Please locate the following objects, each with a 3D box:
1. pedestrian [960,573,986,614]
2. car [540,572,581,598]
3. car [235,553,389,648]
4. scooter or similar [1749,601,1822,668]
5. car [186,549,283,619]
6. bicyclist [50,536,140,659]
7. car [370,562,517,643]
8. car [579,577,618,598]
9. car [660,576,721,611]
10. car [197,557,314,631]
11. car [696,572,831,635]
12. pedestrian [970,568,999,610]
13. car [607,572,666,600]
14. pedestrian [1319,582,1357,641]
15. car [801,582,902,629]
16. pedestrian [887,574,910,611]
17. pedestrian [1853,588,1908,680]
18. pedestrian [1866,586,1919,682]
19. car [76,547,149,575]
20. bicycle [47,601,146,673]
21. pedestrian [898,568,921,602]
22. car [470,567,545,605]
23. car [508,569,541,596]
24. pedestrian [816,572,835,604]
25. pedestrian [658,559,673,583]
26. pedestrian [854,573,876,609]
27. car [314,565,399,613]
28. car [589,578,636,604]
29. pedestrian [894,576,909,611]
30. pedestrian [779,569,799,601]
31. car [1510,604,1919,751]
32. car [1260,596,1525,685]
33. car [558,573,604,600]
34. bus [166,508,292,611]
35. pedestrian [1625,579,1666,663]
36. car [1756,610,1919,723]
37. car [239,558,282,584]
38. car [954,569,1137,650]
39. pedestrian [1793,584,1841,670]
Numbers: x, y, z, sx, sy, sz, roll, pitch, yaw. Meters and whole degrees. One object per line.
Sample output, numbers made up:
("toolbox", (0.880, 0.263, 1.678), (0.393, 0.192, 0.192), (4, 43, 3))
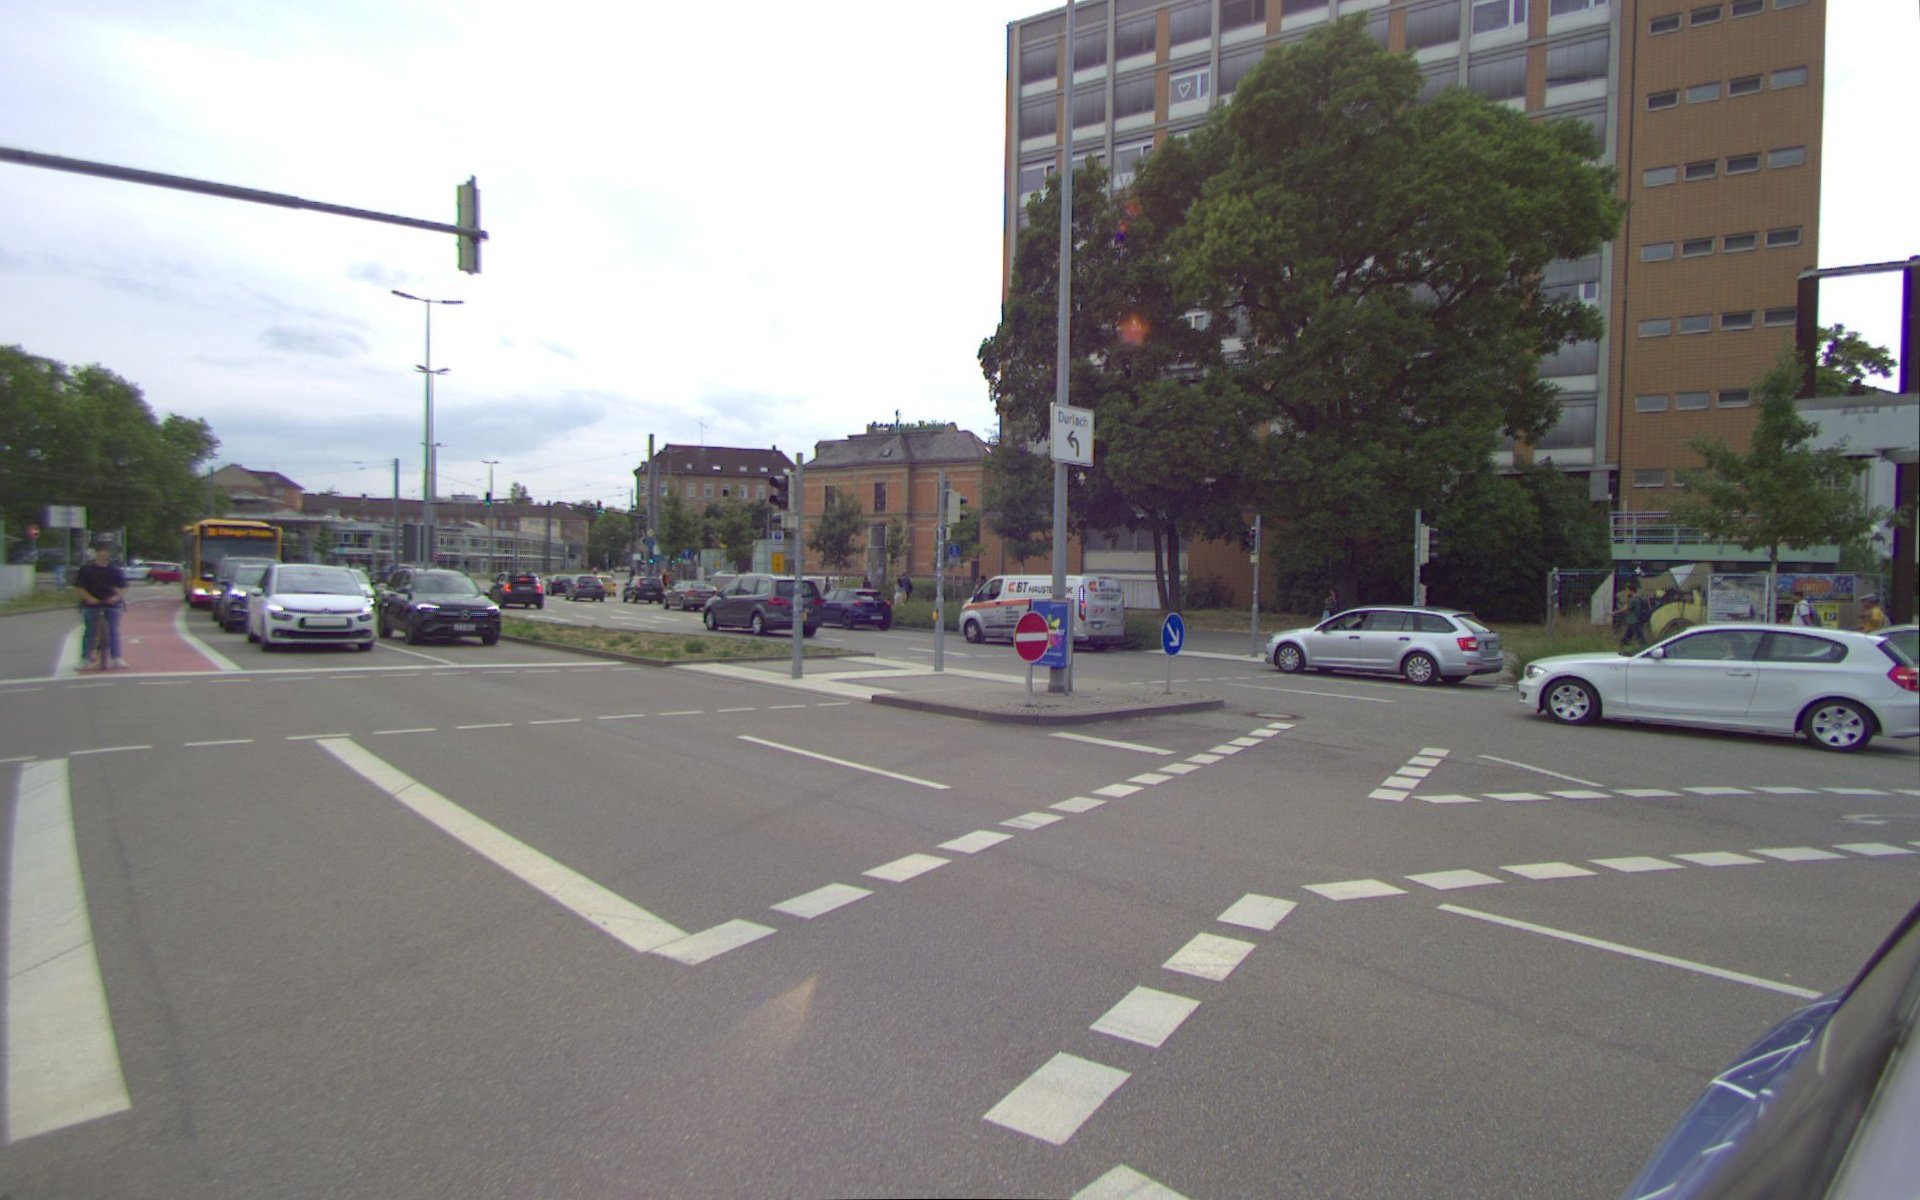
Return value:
("pedestrian", (0.519, -0.274, 41.059), (0.765, 1.593, 0.813), (-1, 2, -29))
("car", (-26.243, -0.978, 66.446), (1.804, 1.635, 3.548), (2, 0, -32))
("car", (-12.897, -0.010, 20.034), (1.965, 1.672, 4.284), (2, 0, -41))
("scooter or similar", (17.986, 0.738, 22.065), (1.136, 1.388, 0.395), (2, -1, 26))
("car", (-21.844, -0.476, 30.404), (1.965, 1.923, 4.284), (2, 0, -41))
("bicyclist", (-12.350, -0.033, 14.450), (0.878, 1.690, 0.855), (1, -1, 44))
("car", (-11.877, 0.032, 23.134), (1.965, 1.672, 4.506), (2, 0, -41))
("car", (-25.488, -0.884, 71.351), (1.676, 1.438, 3.701), (2, 0, -35))
("car", (-12.735, -0.328, 47.692), (1.639, 1.527, 3.635), (2, 0, -34))
("car", (-17.816, -0.160, 25.523), (1.965, 1.672, 4.284), (2, 0, -41))
("car", (-5.779, 0.057, 29.336), (1.729, 1.671, 4.679), (2, 0, -41))
("pedestrian", (0.943, -0.439, 39.015), (0.765, 1.593, 0.813), (-1, 2, -33))
("car", (-18.121, -0.768, 56.644), (2.098, 1.438, 3.701), (2, 0, -35))
("pedestrian", (10.698, 0.309, 28.636), (0.808, 1.593, 0.770), (1, 2, 38))
("car", (-3.891, 0.173, 35.795), (1.828, 1.552, 4.002), (2, 0, -35))
("pedestrian", (-2.772, -0.349, 45.500), (0.765, 1.593, 0.813), (-1, 2, -29))
("pedestrian", (17.809, 0.643, 19.589), (0.704, 1.733, 0.631), (1, -1, 38))
("pedestrian", (17.449, 0.613, 18.901), (0.704, 1.732, 0.631), (1, 2, 38))
("car", (-62.458, -2.862, 74.694), (3.924, 1.878, 2.000), (2, 0, -36))
("bicycle", (-12.355, 0.494, 14.441), (2.511, 0.888, 0.851), (2, 0, 45))
("pedestrian", (-2.356, -0.705, 47.047), (0.765, 1.593, 0.813), (-1, 2, -29))
("car", (-18.898, -0.581, 42.201), (3.429, 1.508, 1.645), (2, 0, 43))
("car", (-24.837, -0.975, 57.666), (1.665, 1.422, 3.707), (2, 0, -24))
("pedestrian", (-6.972, -0.622, 52.458), (0.765, 1.593, 0.813), (-1, 2, -29))
("pedestrian", (-19.601, -1.938, 67.395), (0.765, 1.593, 0.813), (-1, 2, -29))
("pedestrian", (-4.419, -0.424, 46.935), (0.765, 1.593, 0.813), (-1, 2, -29))
("car", (-22.757, -0.424, 38.099), (1.965, 1.672, 4.506), (2, 0, -41))
("car", (-20.573, -0.553, 59.824), (1.676, 1.438, 3.701), (2, 0, -35))
("pedestrian", (-2.642, -0.291, 45.565), (0.542, 1.555, 0.547), (0, 2, 15))
("pedestrian", (-8.568, -0.752, 50.675), (0.765, 1.593, 0.813), (-1, 2, -29))
("car", (9.520, 0.864, 12.813), (4.207, 1.476, 1.734), (2, 0, 42))
("car", (8.461, 0.727, 20.146), (1.793, 1.493, 4.521), (2, 0, -41))
("car", (-21.288, -0.755, 56.801), (1.682, 1.438, 4.003), (2, 0, -31))
("bus", (-28.160, -1.432, 38.679), (3.101, 3.296, 12.400), (2, 0, -39))
("pedestrian", (15.771, 0.465, 23.289), (0.704, 1.875, 0.631), (1, 1, 38))
("car", (13.947, 0.969, 14.417), (1.642, 1.508, 3.869), (2, 0, -42))
("car", (-48.690, -2.031, 70.443), (1.965, 1.672, 4.506), (2, 0, -41))
("car", (2.206, 0.207, 27.608), (1.793, 1.984, 5.198), (2, 0, -40))
("pedestrian", (17.775, 0.538, 21.012), (0.704, 1.732, 0.631), (1, 1, 38))
